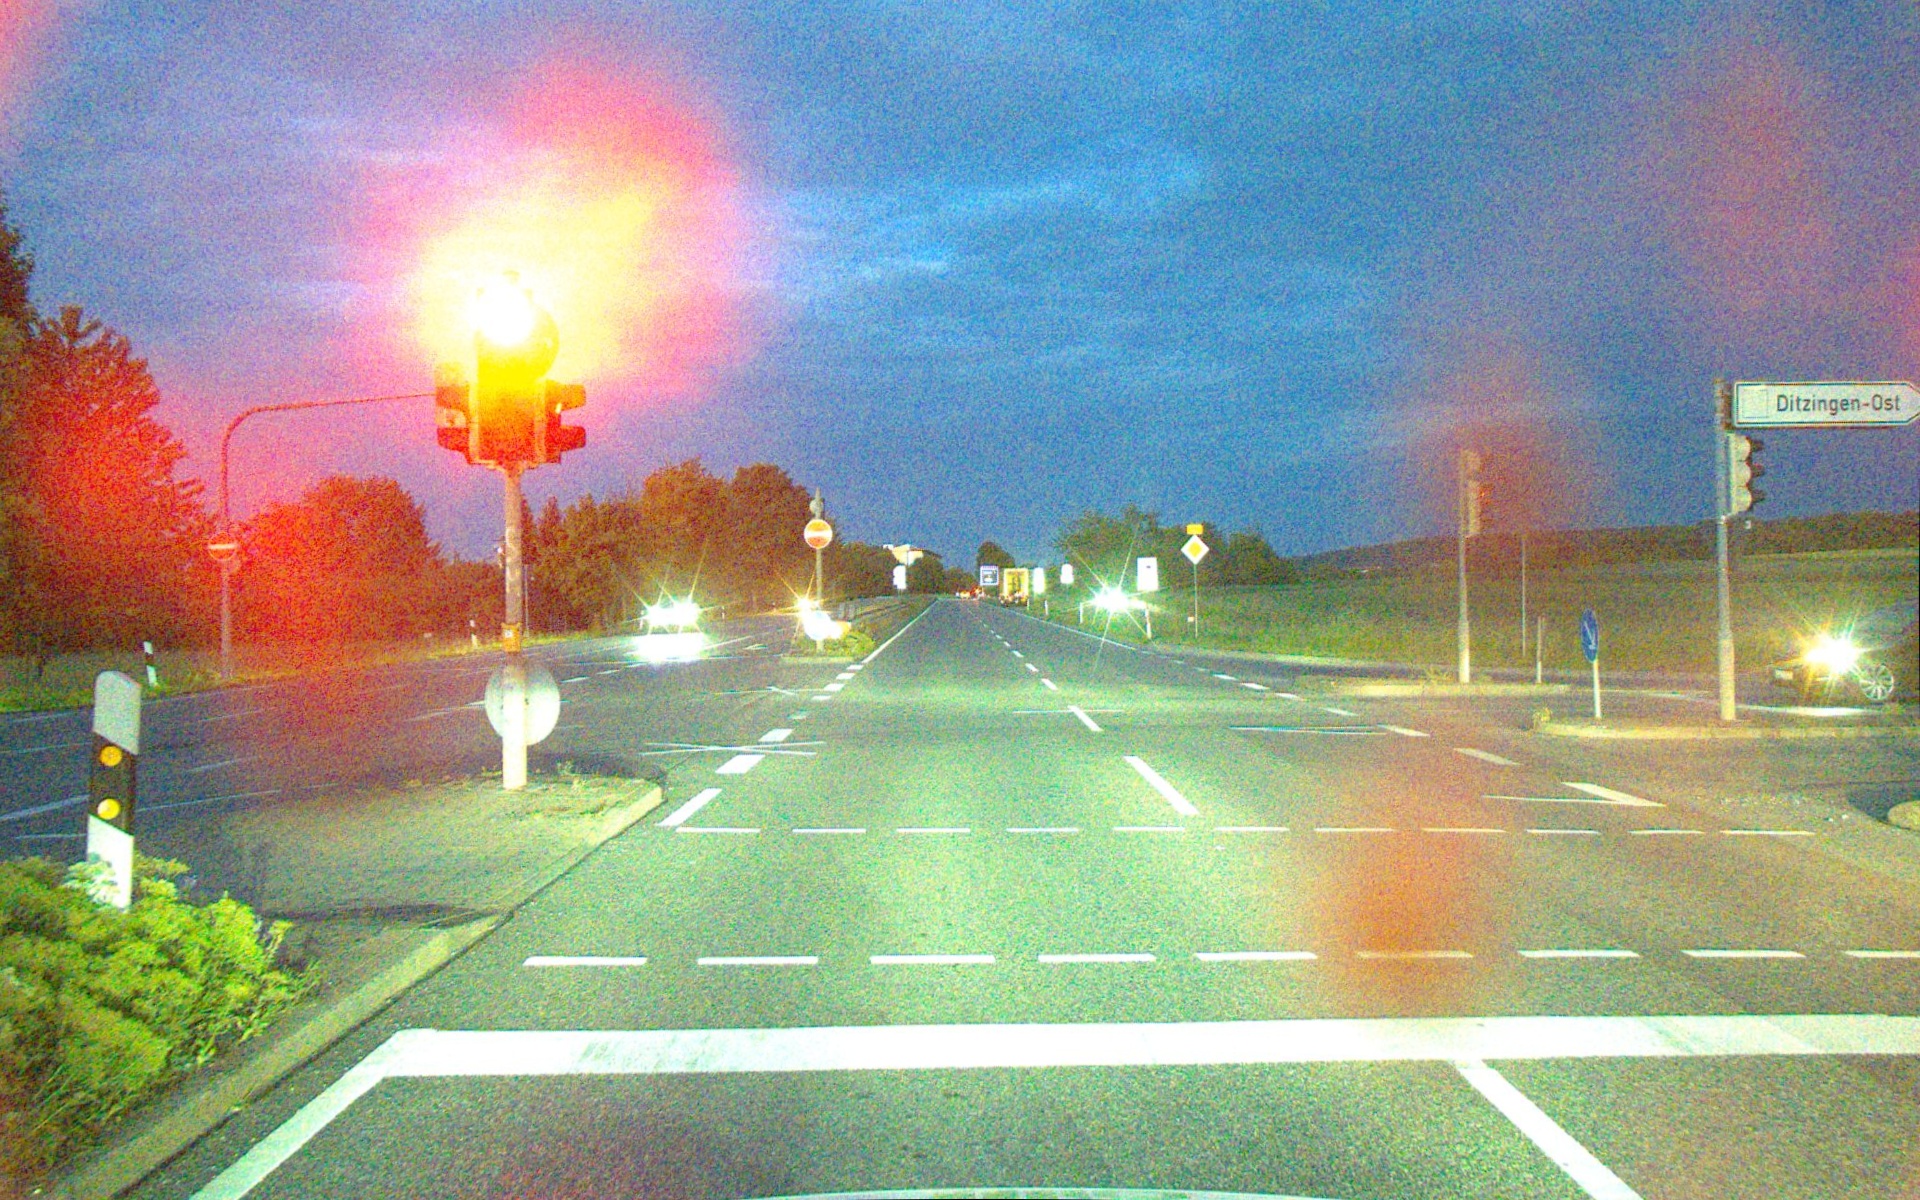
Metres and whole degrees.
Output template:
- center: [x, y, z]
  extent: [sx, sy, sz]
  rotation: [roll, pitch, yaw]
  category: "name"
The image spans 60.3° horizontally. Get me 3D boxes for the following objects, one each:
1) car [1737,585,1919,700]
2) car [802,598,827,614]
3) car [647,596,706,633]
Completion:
- center: [14.137, 0.570, 24.281]
  extent: [4.507, 1.547, 2.000]
  rotation: [-2, 0, 0]
  category: "car"
- center: [-13.357, 0.531, 151.679]
  extent: [1.953, 1.411, 3.999]
  rotation: [-1, 0, -1]
  category: "car"
- center: [-12.666, 0.617, 74.035]
  extent: [1.953, 1.545, 4.297]
  rotation: [-1, 0, -1]
  category: "car"
